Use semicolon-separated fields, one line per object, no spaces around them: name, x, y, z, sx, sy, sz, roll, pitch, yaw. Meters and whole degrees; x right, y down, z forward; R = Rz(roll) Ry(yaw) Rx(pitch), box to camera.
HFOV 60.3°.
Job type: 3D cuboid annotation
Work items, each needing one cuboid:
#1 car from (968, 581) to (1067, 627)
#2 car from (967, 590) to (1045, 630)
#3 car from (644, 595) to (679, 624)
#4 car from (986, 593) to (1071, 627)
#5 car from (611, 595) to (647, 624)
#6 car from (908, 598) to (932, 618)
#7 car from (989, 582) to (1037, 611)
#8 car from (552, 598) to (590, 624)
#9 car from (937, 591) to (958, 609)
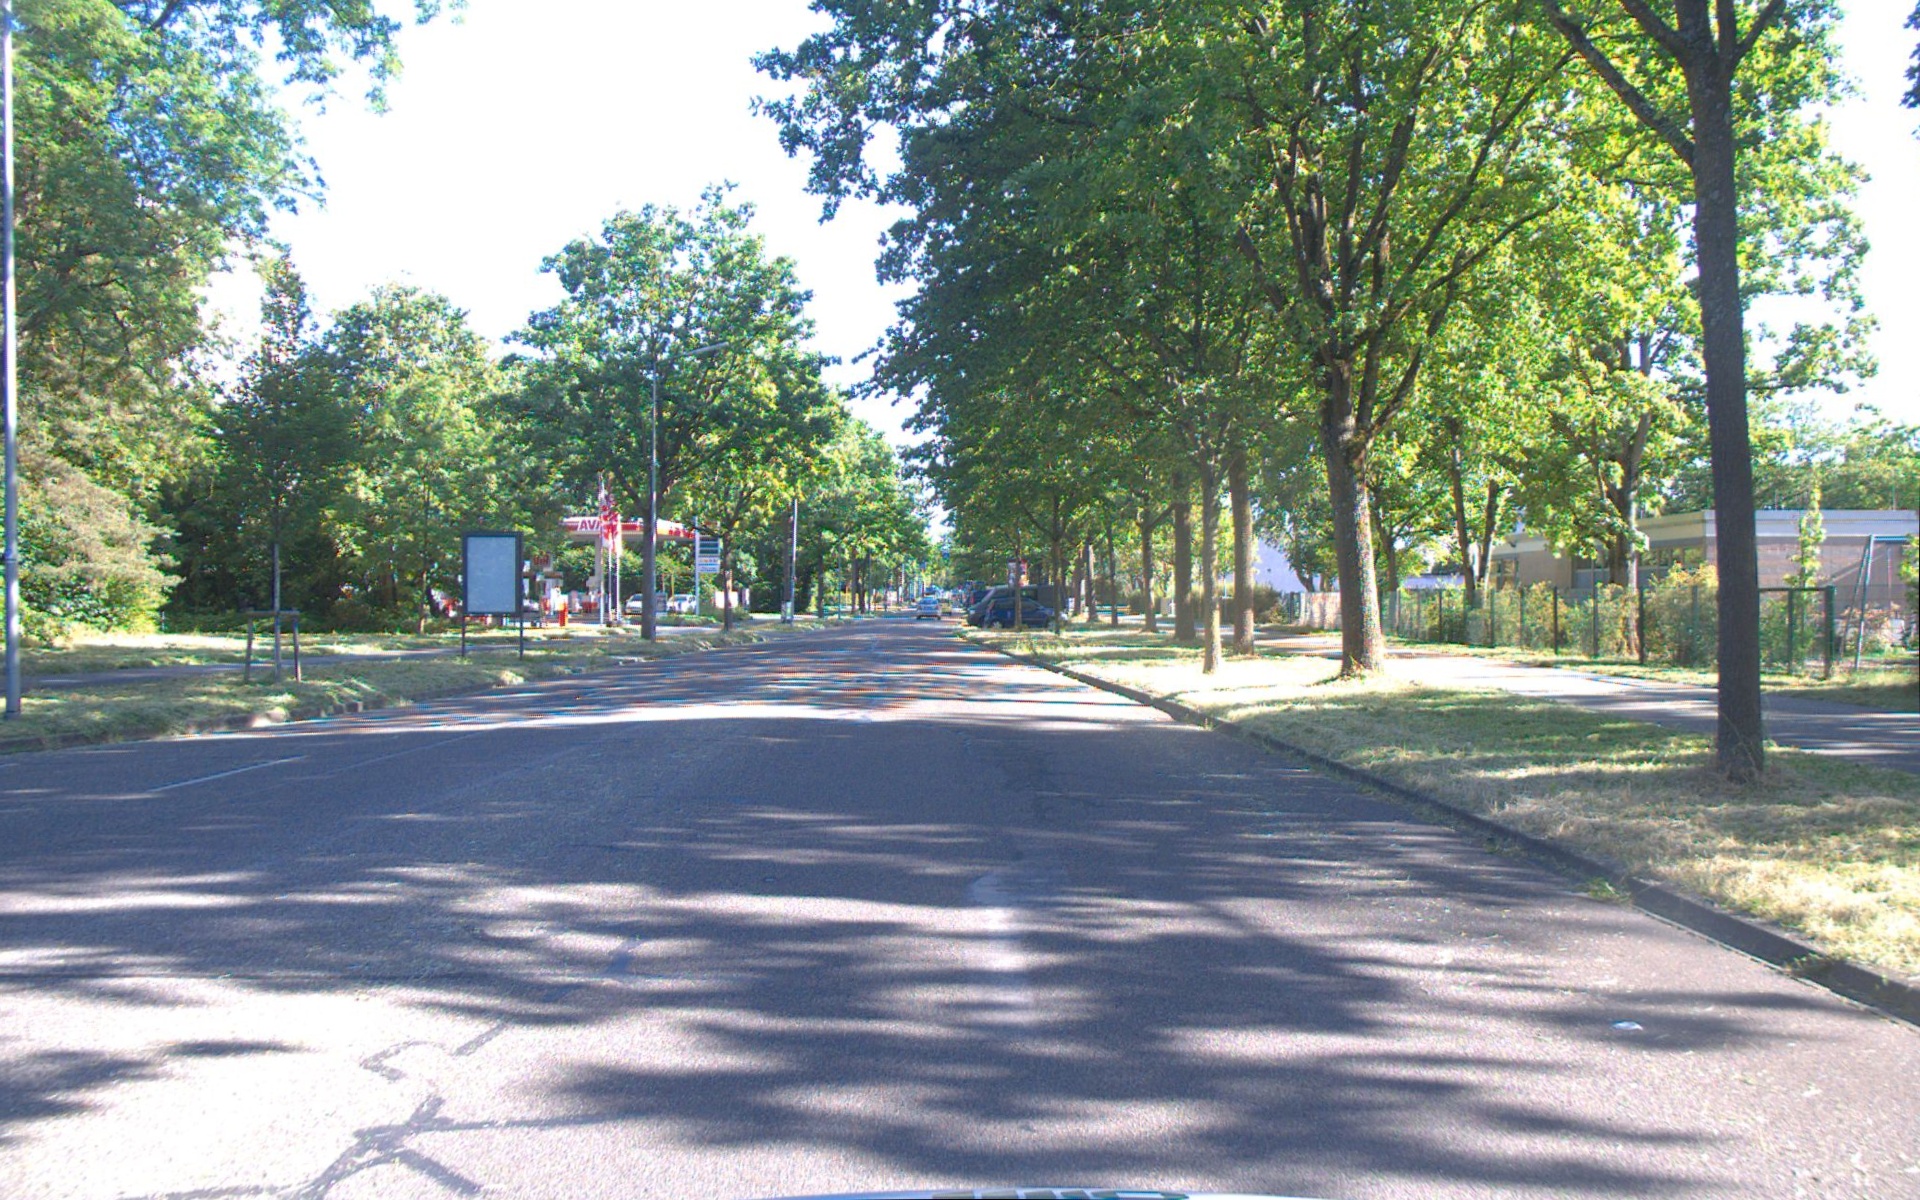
car;2.592;0.200;75.002;4.411;1.987;1.687;-1;-1;-1
car;2.155;0.464;77.479;3.579;1.829;1.317;-1;-1;-1
car;-19.813;0.632;109.932;1.765;1.855;3.802;-1;-1;-3
car;2.964;0.428;72.025;3.579;1.423;1.317;-1;-1;-1
car;-21.937;0.659;109.762;1.765;1.855;3.802;-1;-1;-3
car;-2.785;0.572;115.333;1.627;1.360;3.663;-1;-1;-1
car;3.921;-0.282;123.743;3.495;2.087;1.632;-1;-2;-1
car;-26.344;0.768;112.172;1.765;1.649;3.803;-1;-1;-2
car;-1.066;-0.005;138.488;1.627;1.360;3.663;-1;-1;-1
